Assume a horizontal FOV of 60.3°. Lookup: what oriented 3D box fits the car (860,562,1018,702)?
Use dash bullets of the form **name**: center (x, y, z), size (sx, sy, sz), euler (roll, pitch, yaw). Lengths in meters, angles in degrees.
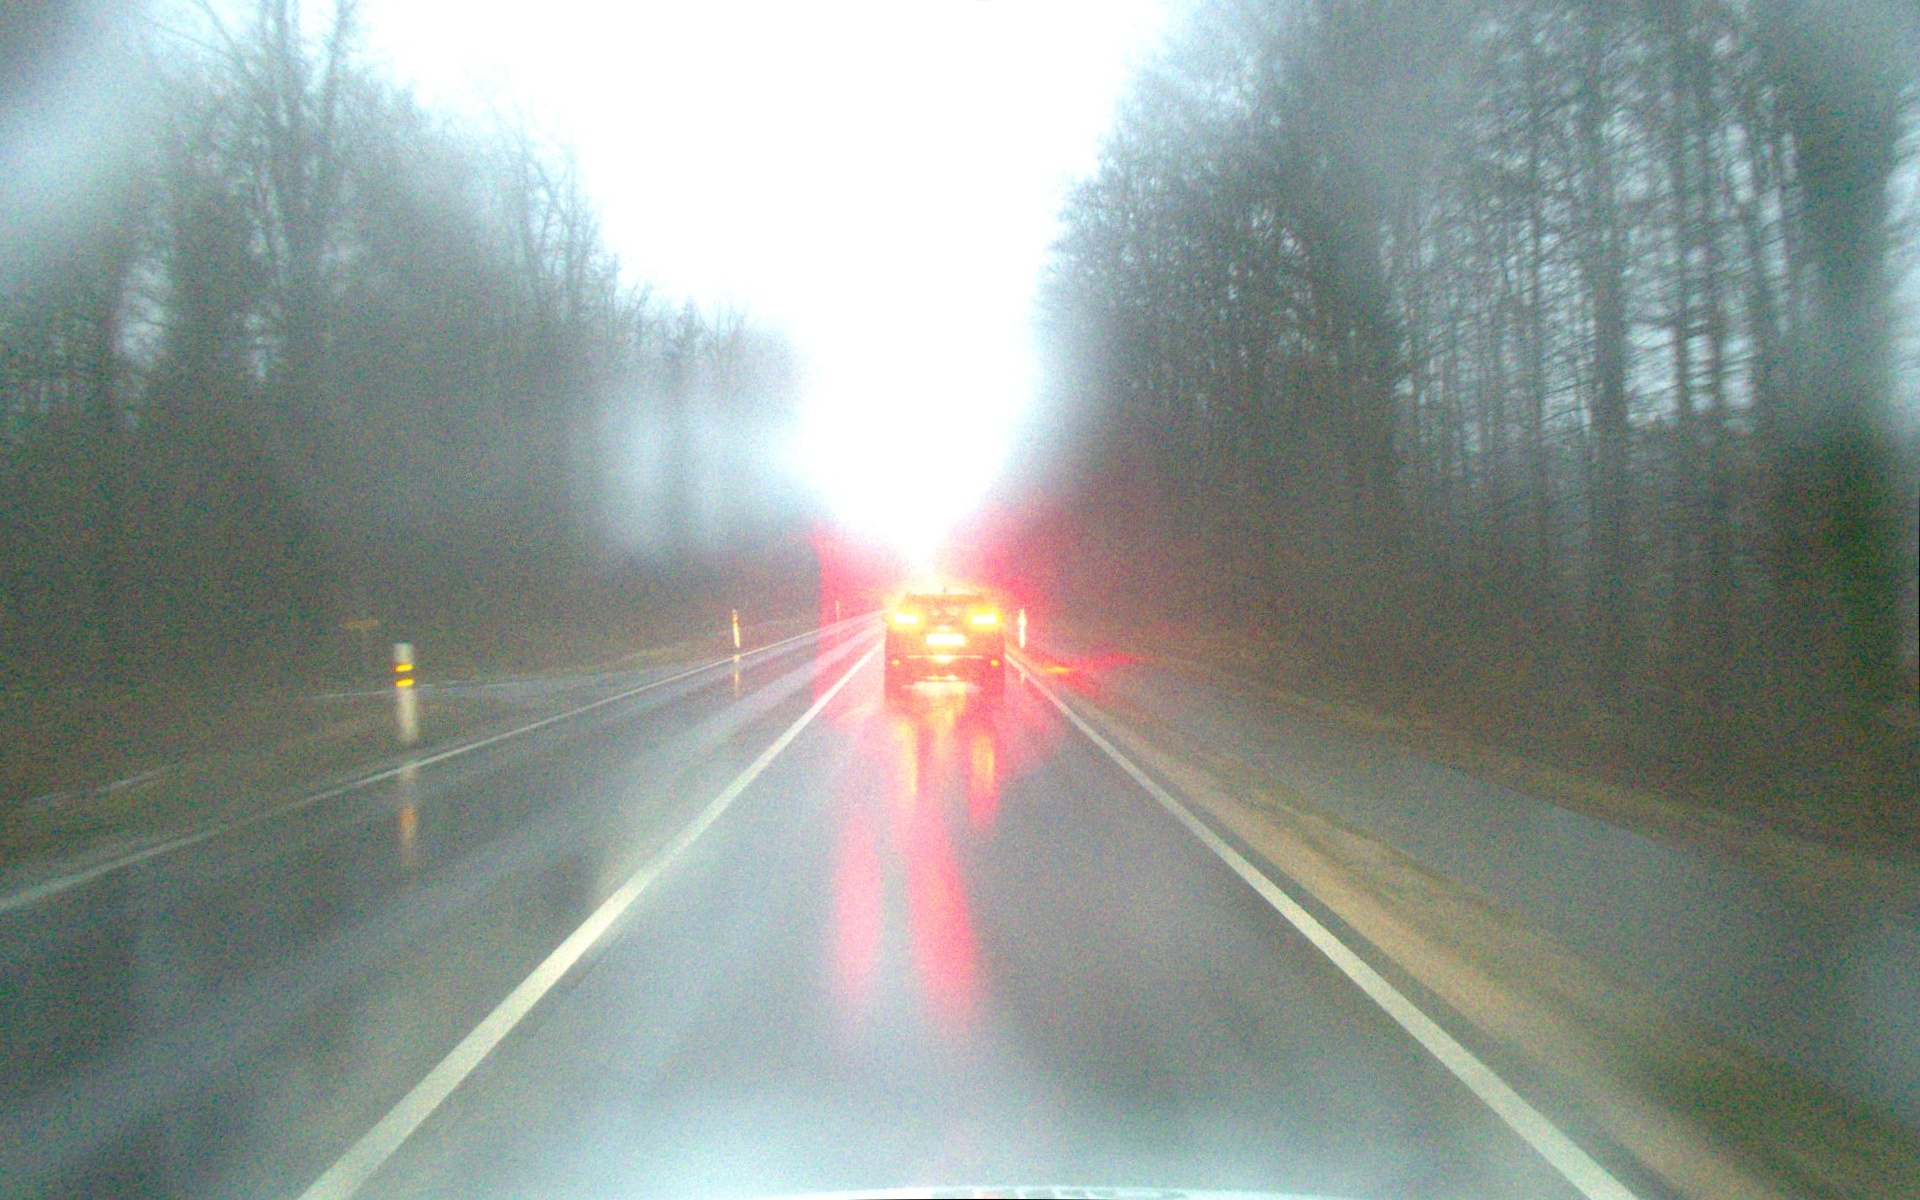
- **car**: center (-0.342, 0.436, 25.273), size (2.153, 1.910, 4.826), euler (1, 0, -1)
